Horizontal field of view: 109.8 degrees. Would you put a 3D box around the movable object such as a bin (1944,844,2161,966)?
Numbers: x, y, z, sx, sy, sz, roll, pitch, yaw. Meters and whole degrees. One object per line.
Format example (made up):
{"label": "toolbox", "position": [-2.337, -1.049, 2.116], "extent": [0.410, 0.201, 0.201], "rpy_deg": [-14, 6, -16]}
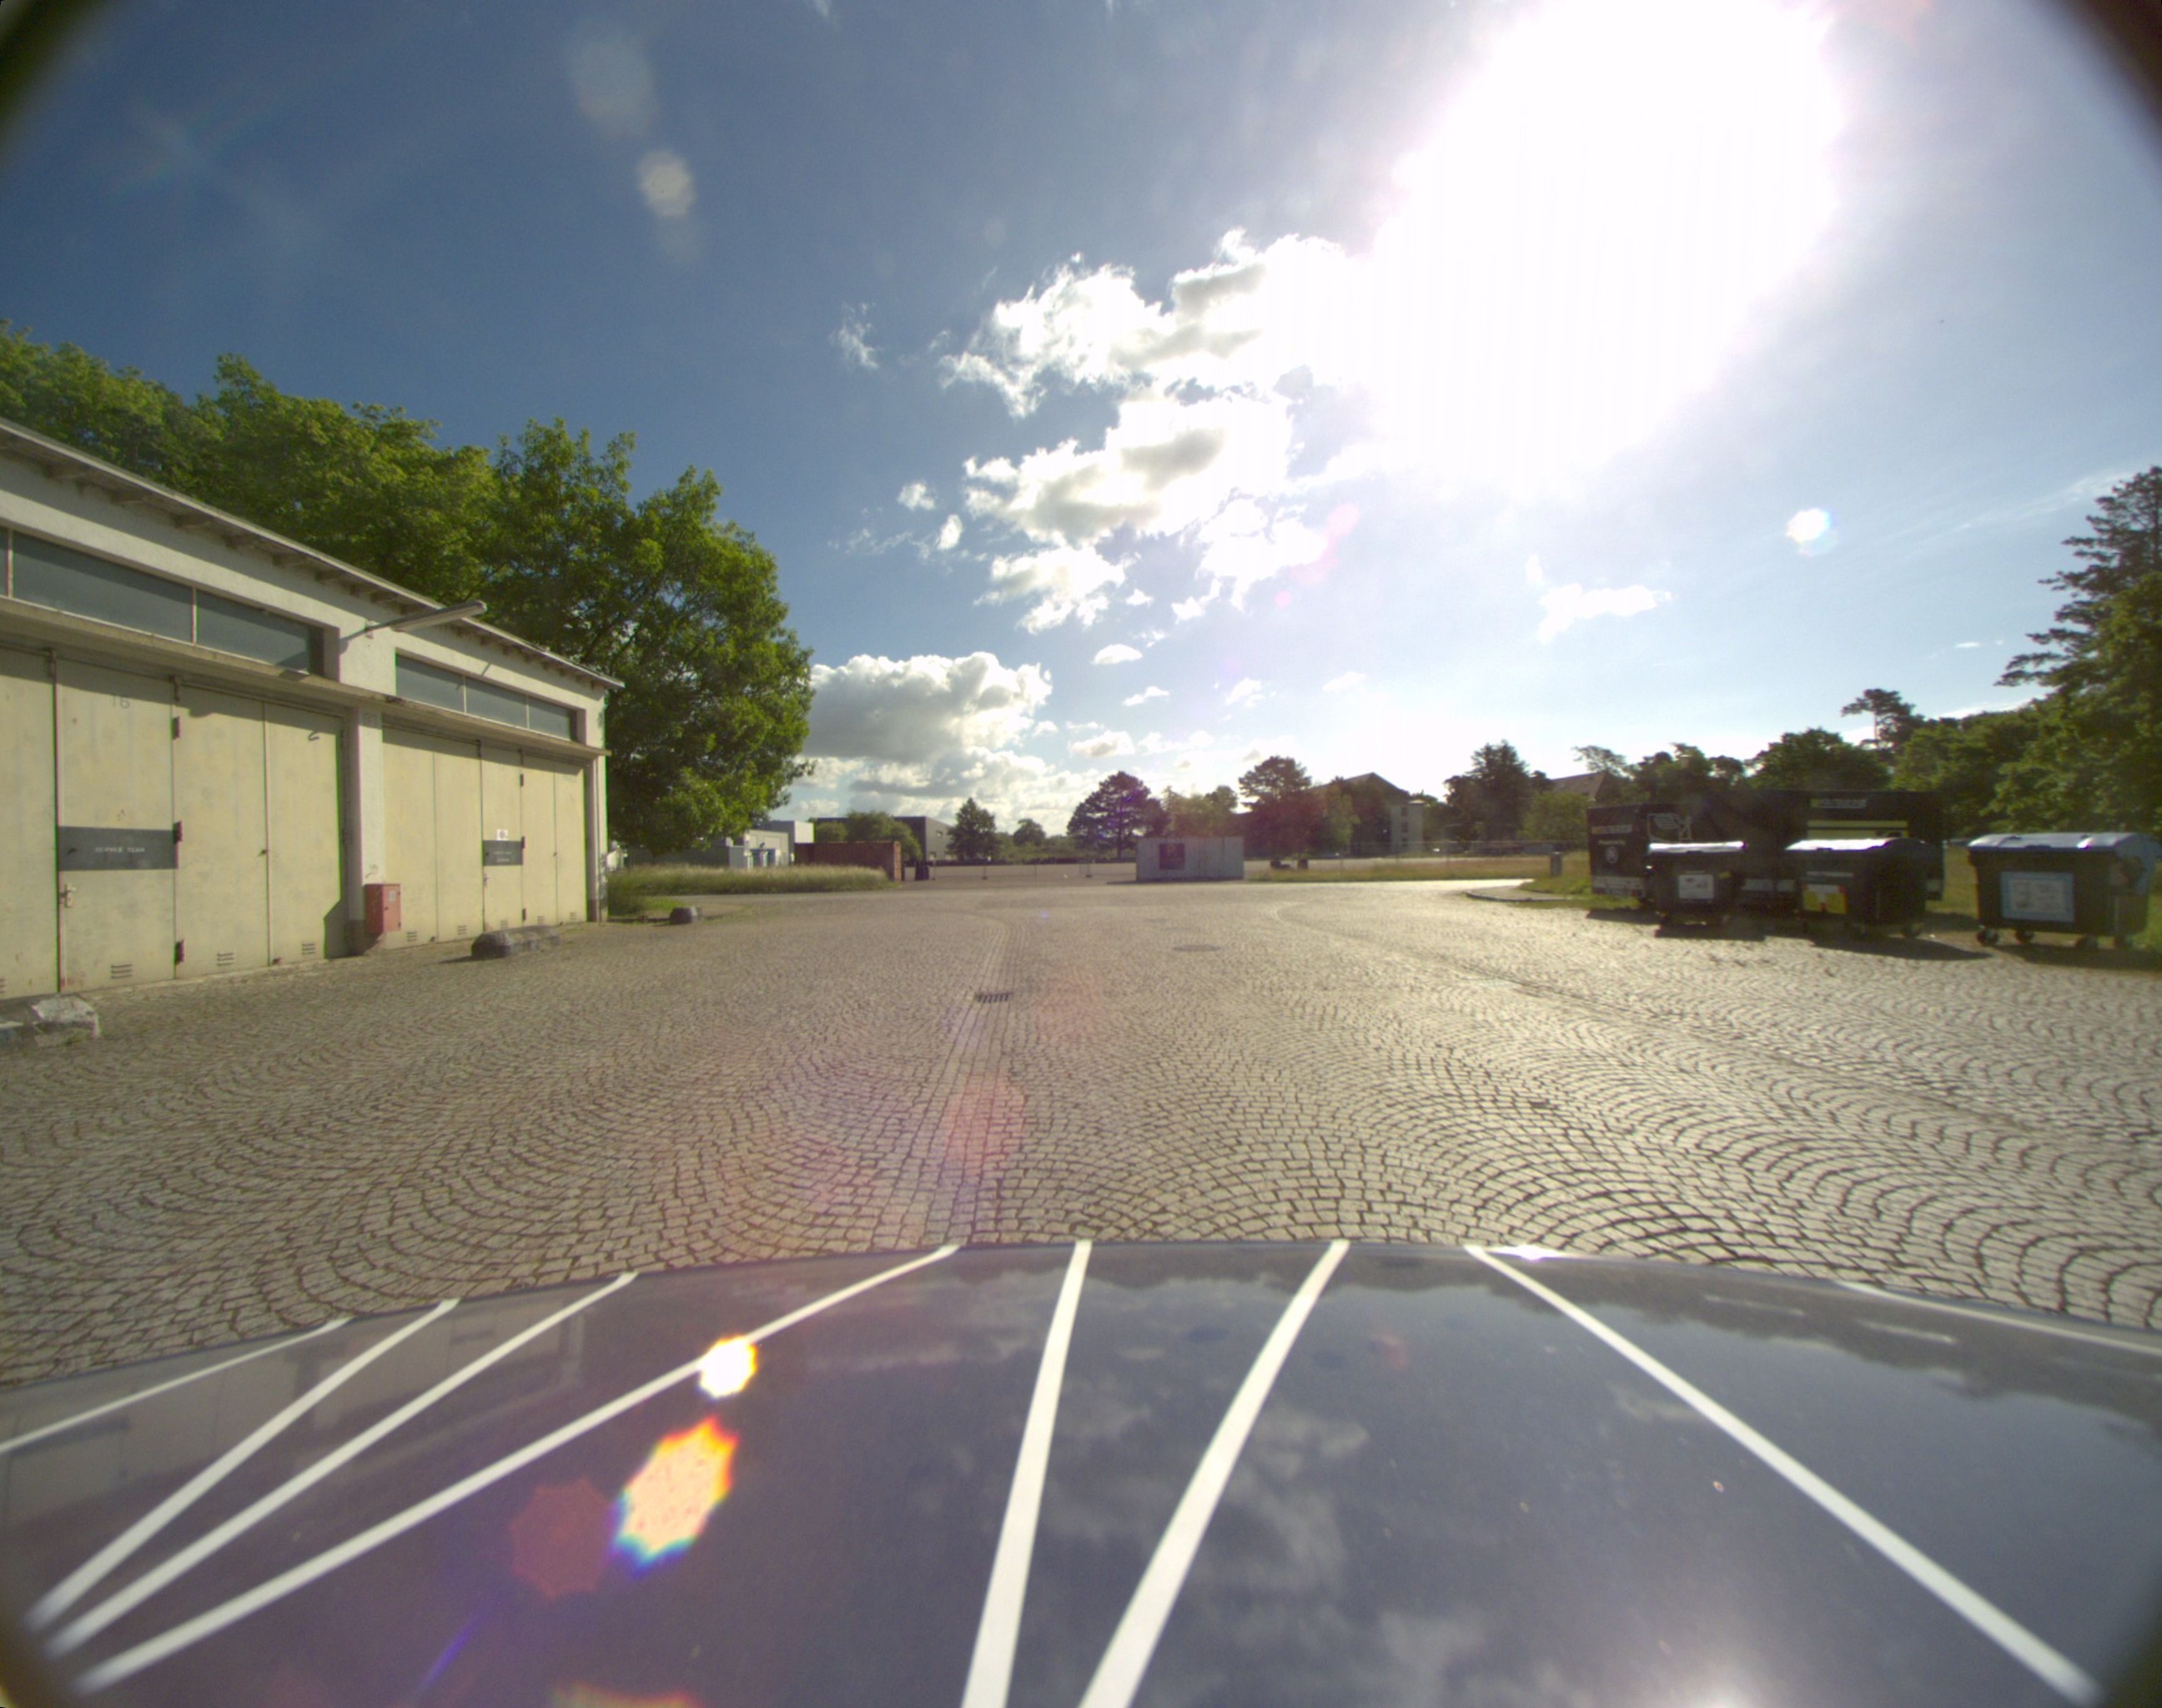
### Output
{"label": "movable object such as a bin", "position": [12.415, 0.579, 9.608], "extent": [1.387, 1.378, 1.534], "rpy_deg": [-1, 1, -15]}

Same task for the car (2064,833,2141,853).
{"label": "car", "position": [98.139, -1.042, 73.047], "extent": [4.346, 1.828, 2.247], "rpy_deg": [-1, 1, 0]}

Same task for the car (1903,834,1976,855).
{"label": "car", "position": [95.746, -1.036, 84.745], "extent": [6.031, 2.001, 2.000], "rpy_deg": [-2, -1, -3]}

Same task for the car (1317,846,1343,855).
{"label": "car", "position": [45.109, -0.582, 137.822], "extent": [4.000, 1.573, 1.998], "rpy_deg": [-1, 1, -8]}

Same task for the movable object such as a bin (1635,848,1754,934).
{"label": "movable object such as a bin", "position": [10.745, 0.602, 13.300], "extent": [1.531, 1.378, 1.389], "rpy_deg": [0, 1, 42]}

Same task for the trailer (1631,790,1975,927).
{"label": "trailer", "position": [13.646, 0.051, 14.534], "extent": [4.975, 2.341, 2.094], "rpy_deg": [-1, 1, -7]}

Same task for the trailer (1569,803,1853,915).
{"label": "trailer", "position": [13.957, 0.091, 17.043], "extent": [4.668, 2.284, 2.136], "rpy_deg": [-1, 1, -2]}

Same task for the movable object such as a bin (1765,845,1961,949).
{"label": "movable object such as a bin", "position": [11.425, 0.584, 11.196], "extent": [1.299, 1.414, 1.535], "rpy_deg": [-1, 1, -2]}
